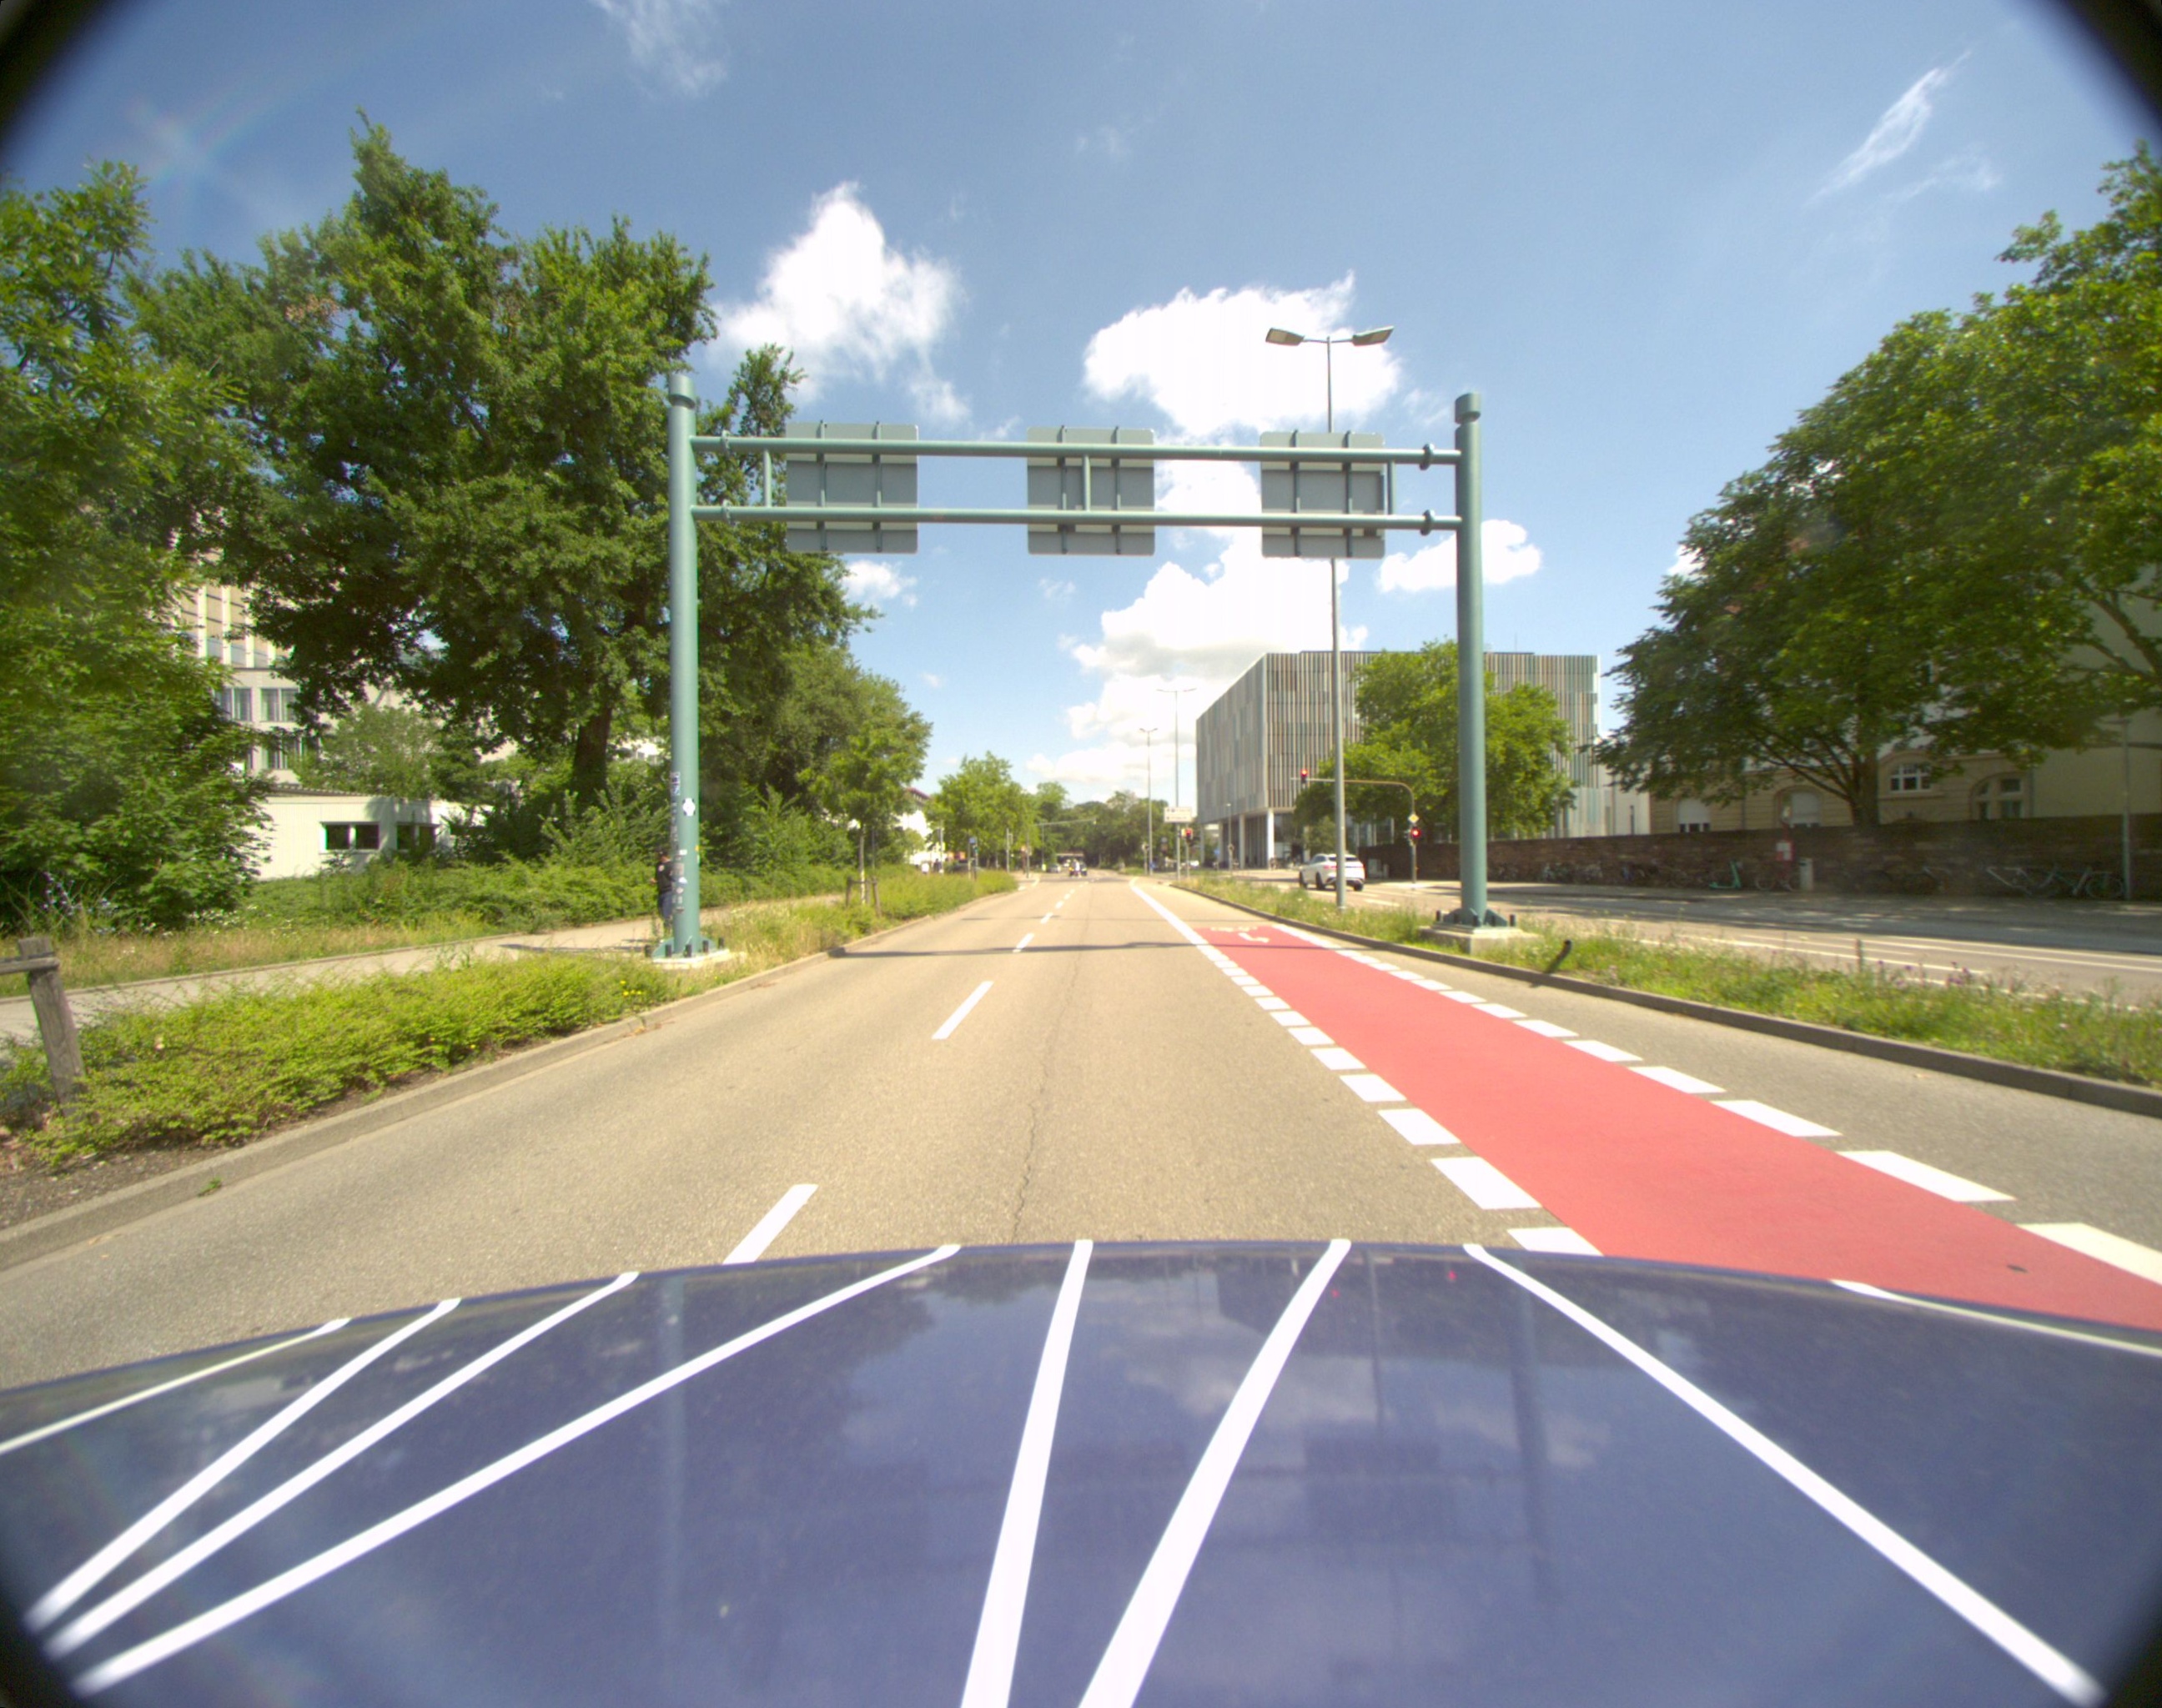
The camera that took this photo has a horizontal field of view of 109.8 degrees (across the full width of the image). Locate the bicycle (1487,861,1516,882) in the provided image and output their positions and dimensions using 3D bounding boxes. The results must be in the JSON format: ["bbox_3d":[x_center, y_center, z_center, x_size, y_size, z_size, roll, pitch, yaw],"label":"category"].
[{"bbox_3d":[22.780,0.933,41.151,0.500,1.145,1.593,-1,0,-8],"label":"bicycle"}]

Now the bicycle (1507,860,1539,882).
[{"bbox_3d":[22.979,0.882,39.533,0.623,1.145,1.593,-1,0,-8],"label":"bicycle"}]

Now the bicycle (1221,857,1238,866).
[{"bbox_3d":[23.731,1.194,121.459,2.511,1.486,0.621,-1,0,1],"label":"bicycle"}]

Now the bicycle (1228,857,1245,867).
[{"bbox_3d":[24.313,1.206,118.775,2.509,1.486,0.730,-1,0,10],"label":"bicycle"}]

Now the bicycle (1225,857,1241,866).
[{"bbox_3d":[24.475,1.177,122.355,2.511,1.486,0.621,-1,0,1],"label":"bicycle"}]

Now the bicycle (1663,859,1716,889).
[{"bbox_3d":[24.096,0.780,30.126,0.534,1.145,1.591,-1,0,-21],"label":"bicycle"}]

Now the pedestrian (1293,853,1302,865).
[{"bbox_3d":[30.819,0.713,108.116,1.012,1.697,1.212,-1,0,25],"label":"pedestrian"}]

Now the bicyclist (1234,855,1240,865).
[{"bbox_3d":[19.126,0.760,93.186,0.617,1.219,0.834,-1,0,11],"label":"bicyclist"}]

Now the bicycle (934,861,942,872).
[{"bbox_3d":[-16.923,1.524,90.130,0.885,1.244,2.163,-1,0,-10],"label":"bicycle"}]

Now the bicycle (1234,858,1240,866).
[{"bbox_3d":[19.165,1.010,93.481,0.646,0.992,2.165,-1,0,10],"label":"bicycle"}]

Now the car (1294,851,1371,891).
[{"bbox_3d":[11.475,0.746,34.991,2.076,1.657,4.776,-1,0,2],"label":"car"}]

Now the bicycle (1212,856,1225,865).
[{"bbox_3d":[23.670,1.122,130.891,2.071,1.486,0.621,-1,0,1],"label":"bicycle"}]

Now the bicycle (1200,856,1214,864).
[{"bbox_3d":[23.253,1.055,140.250,2.302,1.486,0.657,-1,0,1],"label":"bicycle"}]

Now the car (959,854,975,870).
[{"bbox_3d":[-15.580,1.074,103.863,2.000,2.042,4.226,-1,0,-8],"label":"car"}]

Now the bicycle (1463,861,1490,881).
[{"bbox_3d":[22.574,0.958,43.370,0.573,1.092,1.593,-1,0,-8],"label":"bicycle"}]

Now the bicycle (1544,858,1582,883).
[{"bbox_3d":[23.148,0.787,36.485,0.403,1.145,1.591,-1,0,-22],"label":"bicycle"}]

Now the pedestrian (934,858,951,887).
[{"bbox_3d":[-8.378,1.105,45.976,0.815,1.711,0.929,-1,0,2],"label":"pedestrian"}]

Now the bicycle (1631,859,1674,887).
[{"bbox_3d":[23.951,0.778,31.860,0.403,1.145,1.593,-1,0,-11],"label":"bicycle"}]

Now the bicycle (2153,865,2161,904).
[{"bbox_3d":[26.421,0.725,17.656,0.545,0.944,1.664,-1,0,-11],"label":"bicycle"}]

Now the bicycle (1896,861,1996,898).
[{"bbox_3d":[25.596,0.737,22.543,0.545,1.041,1.948,-1,0,-11],"label":"bicycle"}]

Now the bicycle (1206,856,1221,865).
[{"bbox_3d":[23.257,1.108,133.456,2.511,1.486,0.621,-1,0,1],"label":"bicycle"}]

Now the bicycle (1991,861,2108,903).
[{"bbox_3d":[25.929,0.725,20.387,0.545,1.041,1.894,-1,0,-11],"label":"bicycle"}]

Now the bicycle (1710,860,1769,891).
[{"bbox_3d":[24.572,0.787,28.385,0.534,1.145,1.591,-1,0,-21],"label":"bicycle"}]

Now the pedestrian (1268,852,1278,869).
[{"bbox_3d":[23.056,0.773,91.169,0.969,1.914,0.880,-1,0,30],"label":"pedestrian"}]

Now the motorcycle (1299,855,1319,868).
[{"bbox_3d":[28.360,0.946,94.469,0.969,1.630,3.305,-1,0,45],"label":"motorcycle"}]

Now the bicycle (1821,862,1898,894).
[{"bbox_3d":[25.231,0.753,24.663,0.482,1.002,1.800,-1,0,-8],"label":"bicycle"}]

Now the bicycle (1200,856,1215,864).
[{"bbox_3d":[23.155,1.066,138.964,2.511,1.486,0.621,-1,0,1],"label":"bicycle"}]

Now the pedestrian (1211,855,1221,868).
[{"bbox_3d":[16.271,0.882,91.699,0.972,1.619,0.878,-1,0,-10],"label":"pedestrian"}]

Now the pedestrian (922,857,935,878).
[{"bbox_3d":[-13.664,1.187,68.002,0.878,1.861,0.972,-1,0,0],"label":"pedestrian"}]

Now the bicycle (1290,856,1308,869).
[{"bbox_3d":[27.397,1.058,95.423,2.693,1.485,0.930,-1,0,-44],"label":"bicycle"}]

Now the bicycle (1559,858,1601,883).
[{"bbox_3d":[23.159,0.762,35.264,0.403,1.145,1.590,-1,0,-32],"label":"bicycle"}]

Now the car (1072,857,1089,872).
[{"bbox_3d":[-0.033,1.192,87.620,1.846,1.593,3.999,-1,0,-2],"label":"car"}]

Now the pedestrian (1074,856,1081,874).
[{"bbox_3d":[-0.326,1.128,77.669,0.646,1.815,0.689,-1,0,1],"label":"pedestrian"}]

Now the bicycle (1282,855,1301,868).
[{"bbox_3d":[26.631,0.980,96.157,0.808,1.634,3.422,-1,0,42],"label":"bicycle"}]

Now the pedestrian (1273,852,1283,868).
[{"bbox_3d":[24.387,0.749,94.155,0.969,1.914,0.880,-1,0,27],"label":"pedestrian"}]

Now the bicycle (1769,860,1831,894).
[{"bbox_3d":[24.936,0.787,26.367,0.433,1.136,1.593,-1,0,-12],"label":"bicycle"}]

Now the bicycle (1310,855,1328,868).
[{"bbox_3d":[29.353,0.911,93.619,1.049,1.543,3.422,-1,0,37],"label":"bicycle"}]

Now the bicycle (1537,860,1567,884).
[{"bbox_3d":[23.375,0.864,37.717,0.413,1.145,1.593,-1,0,-5],"label":"bicycle"}]

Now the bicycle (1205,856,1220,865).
[{"bbox_3d":[23.351,1.097,134.568,2.511,1.486,0.621,-1,0,1],"label":"bicycle"}]

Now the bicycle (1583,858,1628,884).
[{"bbox_3d":[23.457,0.768,34.008,0.403,1.145,1.590,-1,0,-32],"label":"bicycle"}]

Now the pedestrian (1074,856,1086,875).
[{"bbox_3d":[-0.100,1.186,76.704,1.107,1.914,0.973,-1,0,10],"label":"pedestrian"}]

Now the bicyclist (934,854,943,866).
[{"bbox_3d":[-16.923,0.711,90.007,0.972,1.436,1.076,-1,0,-9],"label":"bicyclist"}]

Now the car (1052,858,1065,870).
[{"bbox_3d":[-3.524,1.531,118.947,1.913,1.772,3.999,-1,0,-3],"label":"car"}]

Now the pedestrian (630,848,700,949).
[{"bbox_3d":[-7.312,0.760,13.377,0.718,1.711,0.837,-1,0,2],"label":"pedestrian"}]

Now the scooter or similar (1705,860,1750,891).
[{"bbox_3d":[23.893,0.784,28.091,0.433,1.145,1.191,-1,0,-20],"label":"scooter or similar"}]
